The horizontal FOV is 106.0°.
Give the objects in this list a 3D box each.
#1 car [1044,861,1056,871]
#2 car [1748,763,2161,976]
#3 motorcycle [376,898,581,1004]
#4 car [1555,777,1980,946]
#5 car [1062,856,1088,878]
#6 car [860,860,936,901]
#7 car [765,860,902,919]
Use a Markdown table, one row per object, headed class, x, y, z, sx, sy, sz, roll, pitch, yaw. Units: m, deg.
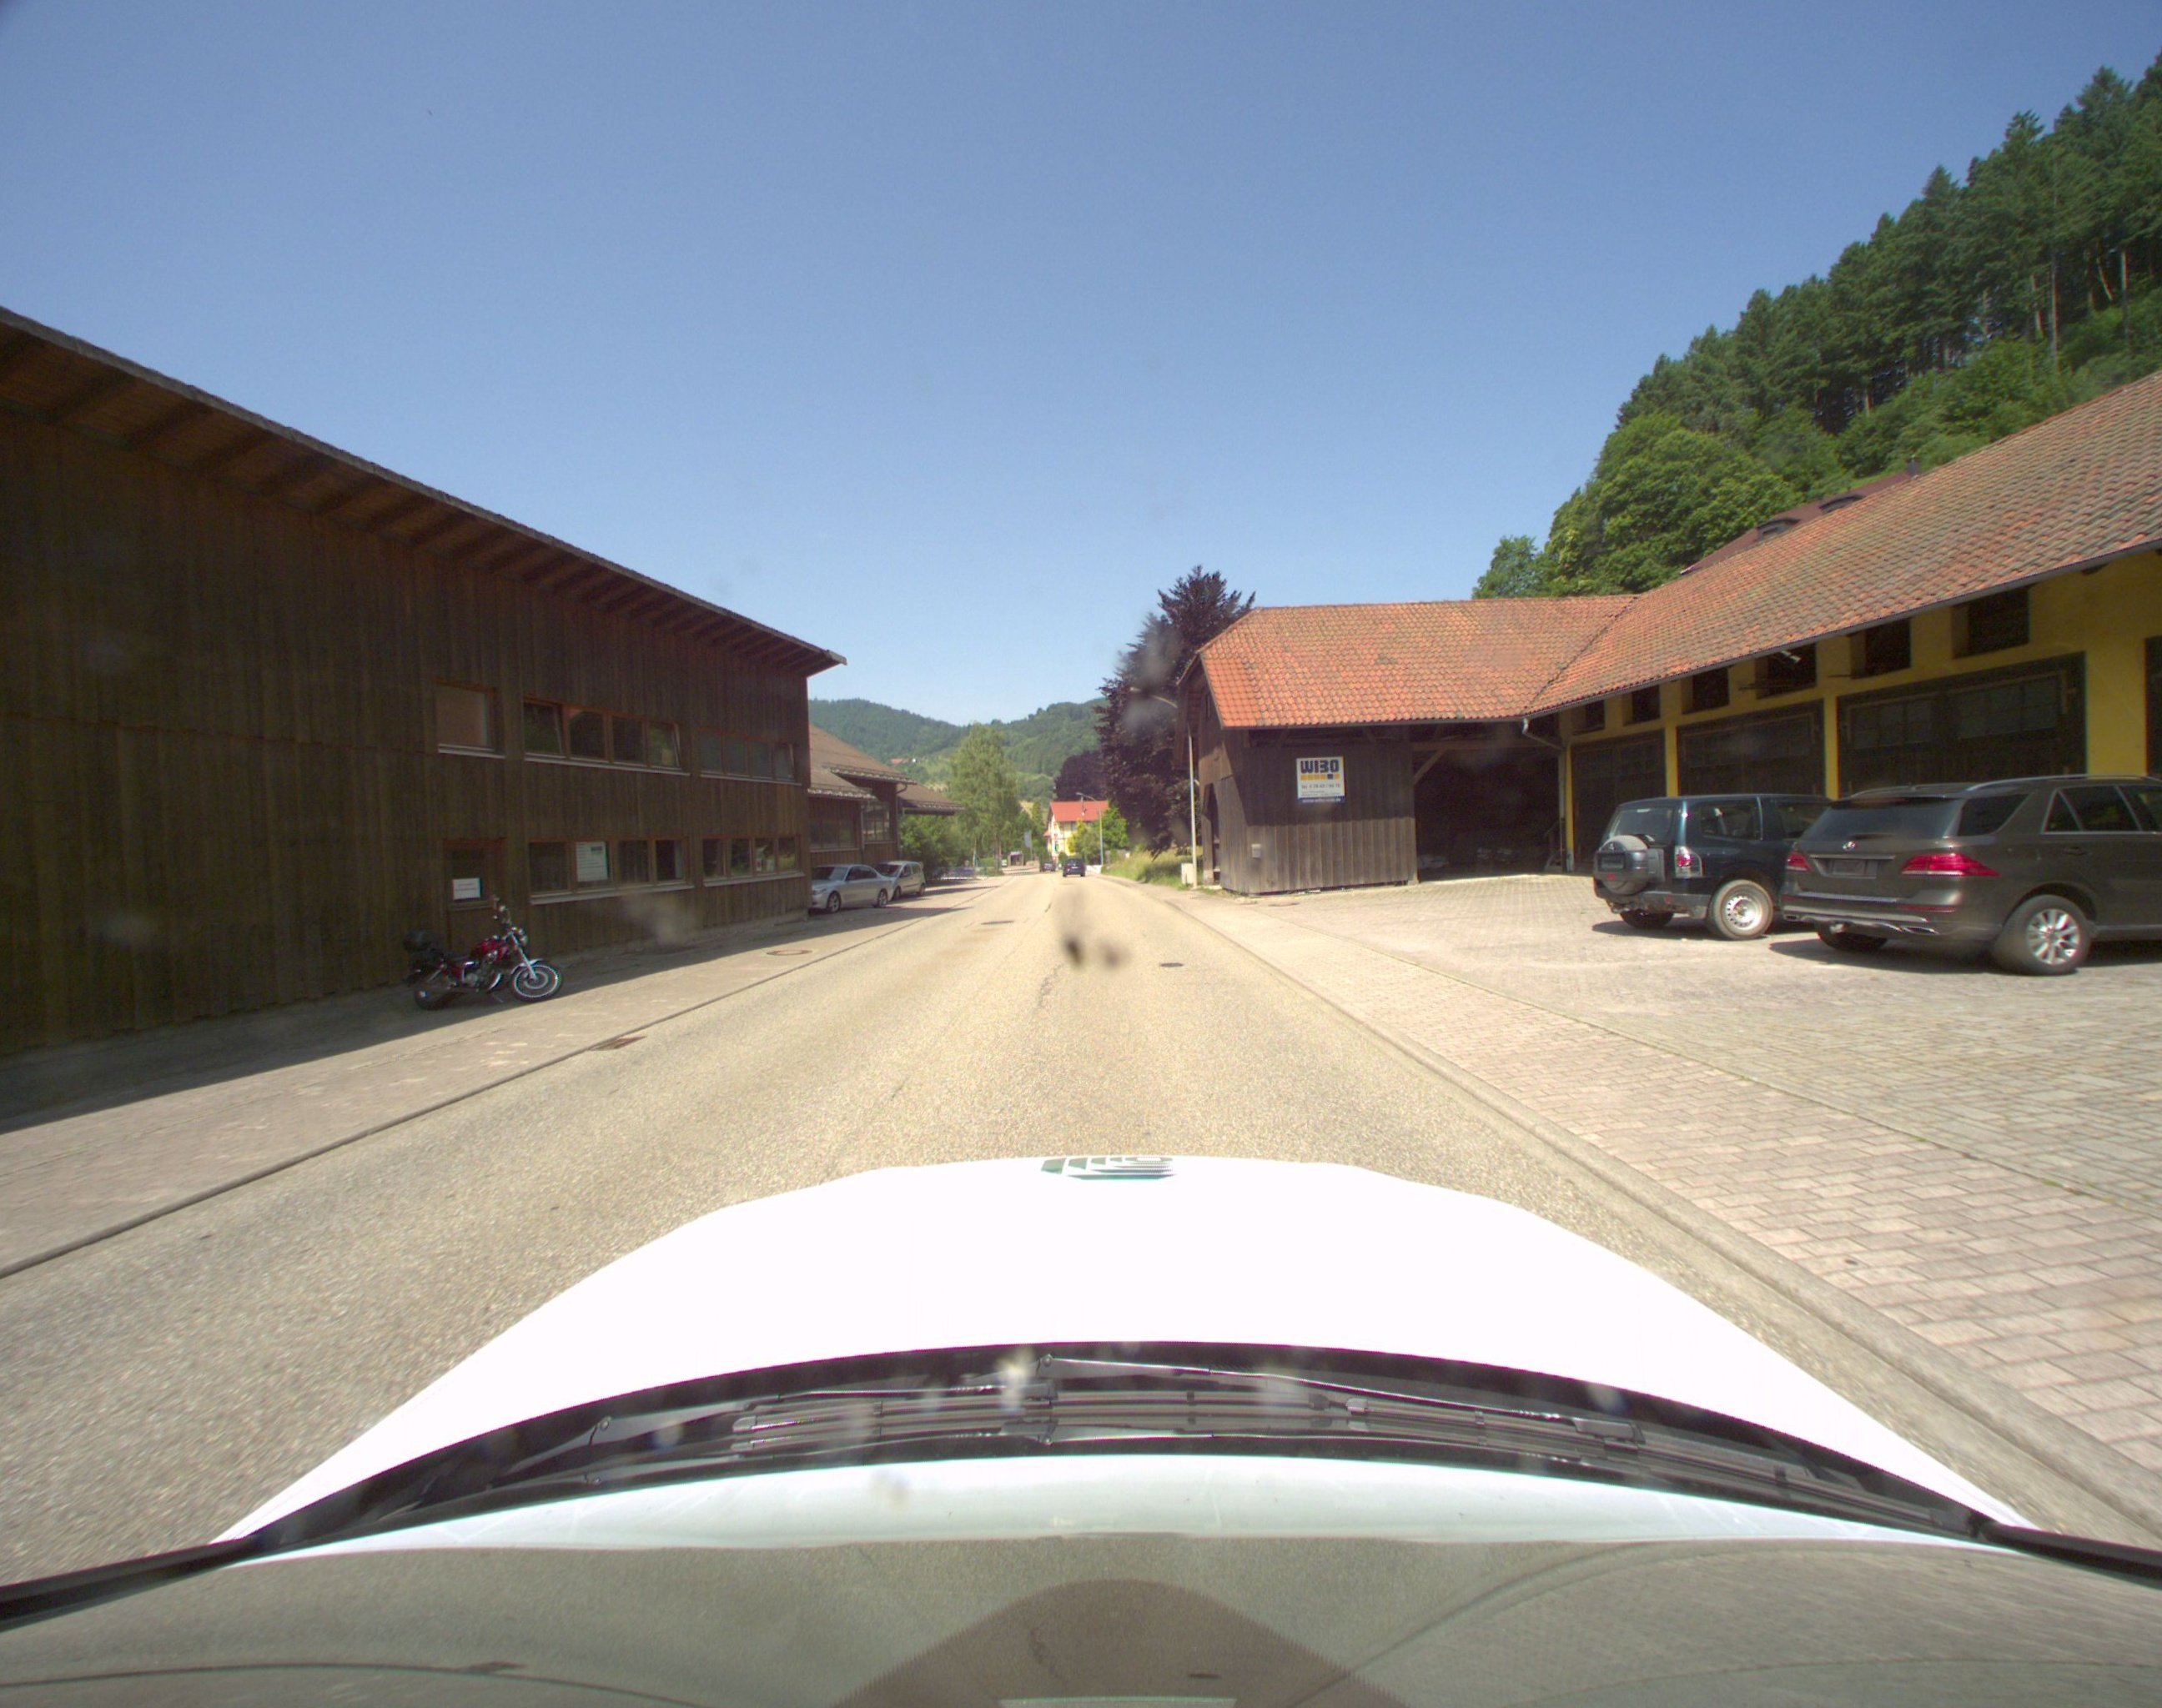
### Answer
| class | x | y | z | sx | sy | sz | roll | pitch | yaw |
| --- | --- | --- | --- | --- | --- | --- | --- | --- | --- |
| car | -4.119 | 1.582 | 106.922 | 1.474 | 1.209 | 2.381 | -3 | 0 | -4 |
| car | 9.725 | 0.063 | 8.239 | 4.410 | 1.759 | 1.950 | -3 | 0 | -4 |
| motorcycle | -8.142 | 1.304 | 11.027 | 2.393 | 1.264 | 0.745 | -3 | 0 | 10 |
| car | 9.032 | 0.081 | 10.982 | 4.117 | 1.832 | 1.952 | -3 | 0 | -3 |
| car | -0.569 | 1.096 | 70.121 | 1.916 | 1.698 | 3.782 | -3 | 0 | -4 |
| car | -7.708 | 1.086 | 34.690 | 1.570 | 1.570 | 4.037 | 1 | 1 | 13 |
| car | -7.489 | 1.029 | 25.219 | 1.716 | 1.454 | 4.824 | -2 | 1 | 15 |
